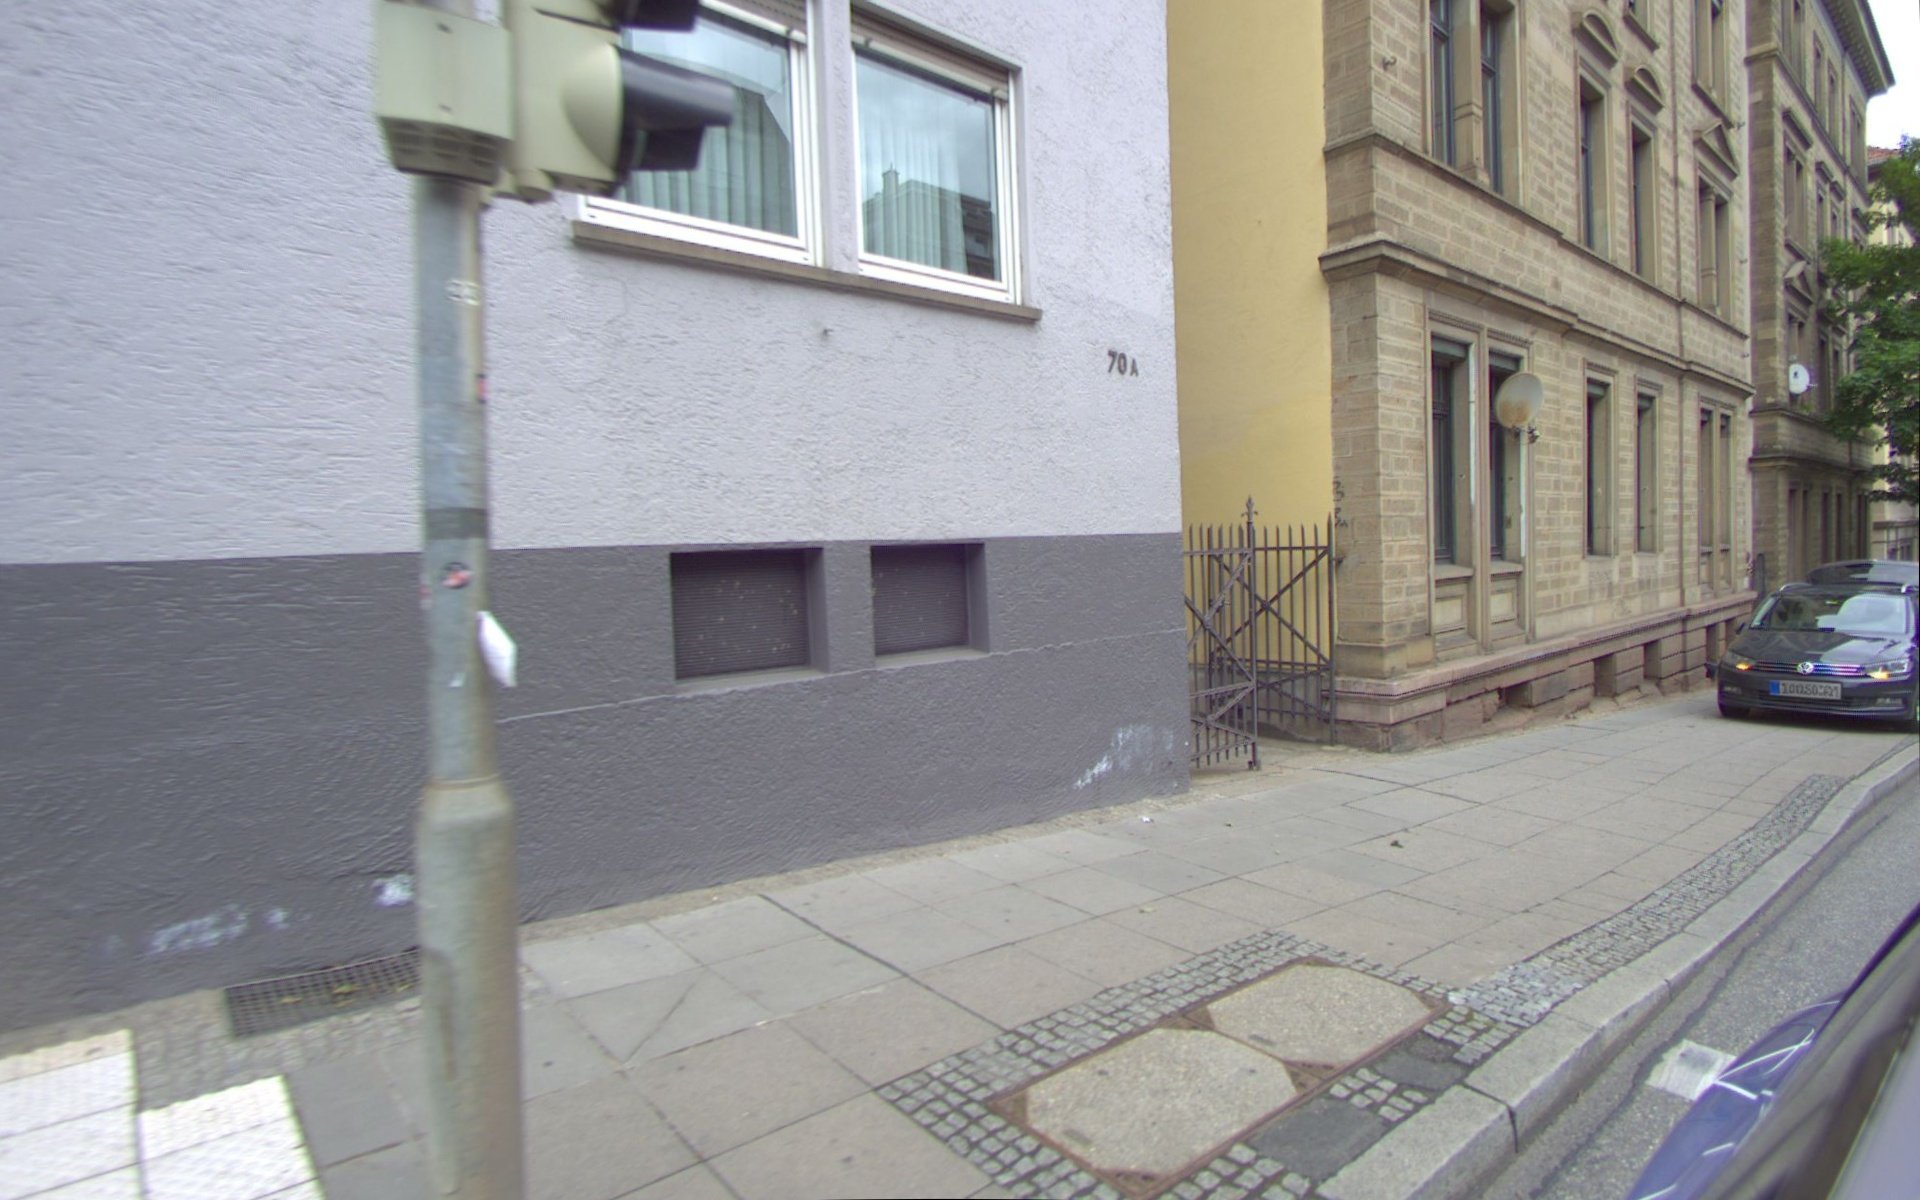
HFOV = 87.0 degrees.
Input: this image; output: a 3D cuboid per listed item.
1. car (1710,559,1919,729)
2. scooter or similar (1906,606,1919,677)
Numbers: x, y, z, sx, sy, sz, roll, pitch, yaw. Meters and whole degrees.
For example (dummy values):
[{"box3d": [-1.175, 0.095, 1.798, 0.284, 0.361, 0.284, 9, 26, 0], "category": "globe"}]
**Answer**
[{"box3d": [10.881, 0.430, 12.323, 4.231, 1.733, 1.862, 0, 1, -40], "category": "car"}, {"box3d": [18.216, 0.801, 18.528, 1.194, 1.289, 0.621, 5, 4, 40], "category": "scooter or similar"}]
